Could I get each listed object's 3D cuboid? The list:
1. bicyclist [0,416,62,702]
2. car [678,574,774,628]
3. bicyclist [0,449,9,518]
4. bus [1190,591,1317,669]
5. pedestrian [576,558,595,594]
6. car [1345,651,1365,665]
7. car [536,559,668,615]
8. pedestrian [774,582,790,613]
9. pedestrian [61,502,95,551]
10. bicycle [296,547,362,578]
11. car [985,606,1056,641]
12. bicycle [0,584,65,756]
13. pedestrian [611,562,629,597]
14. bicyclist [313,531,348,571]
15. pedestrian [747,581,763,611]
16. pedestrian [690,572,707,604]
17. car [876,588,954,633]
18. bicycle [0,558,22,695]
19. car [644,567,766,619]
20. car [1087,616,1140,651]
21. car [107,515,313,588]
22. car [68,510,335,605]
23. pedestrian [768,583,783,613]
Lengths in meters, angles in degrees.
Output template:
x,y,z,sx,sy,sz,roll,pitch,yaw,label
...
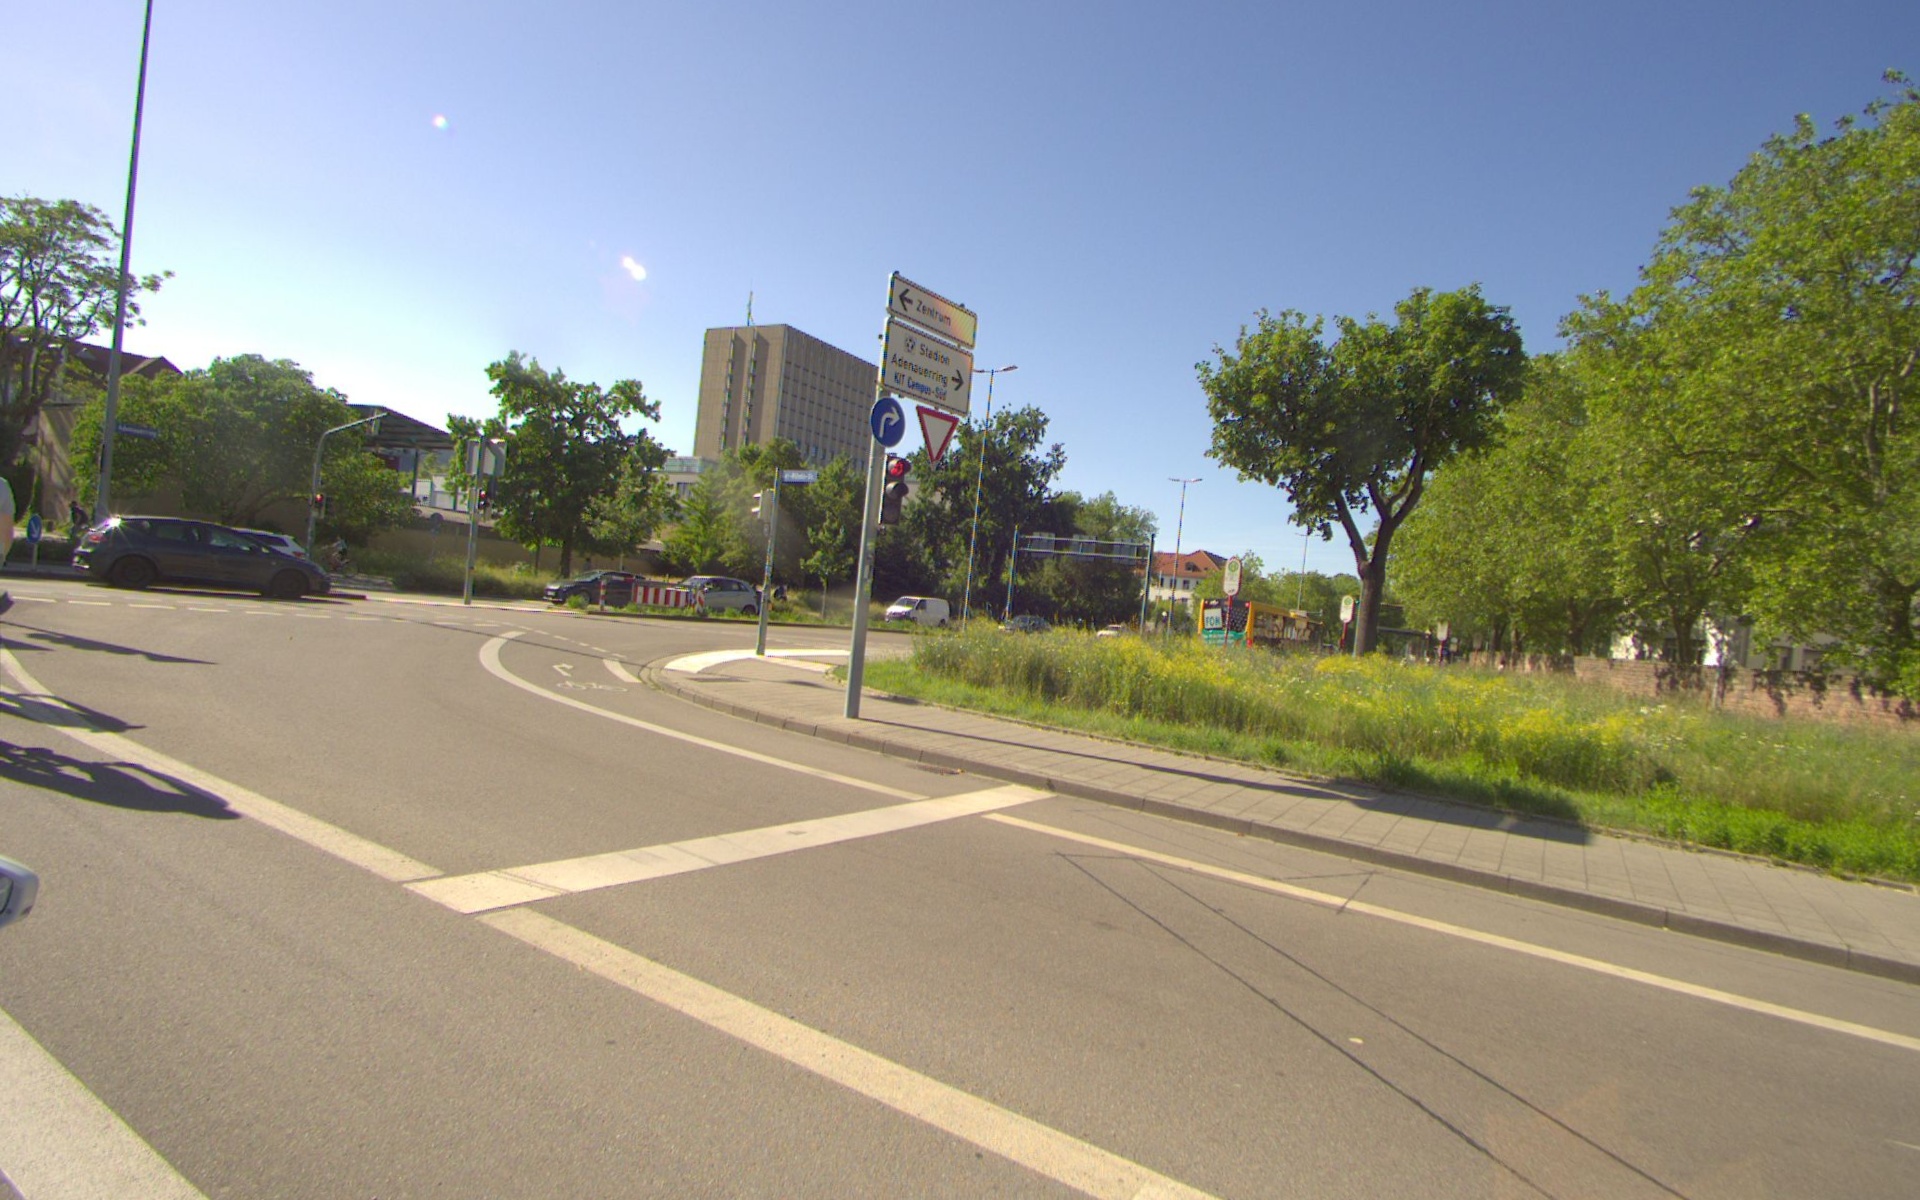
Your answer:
x,y,z,sx,sy,sz,roll,pitch,yaw,label
-6.210,-0.297,6.099,1.000,1.688,0.752,6,-1,33,bicyclist
-11.286,0.089,48.803,1.971,2.037,3.986,6,-2,40,car
-8.138,-0.373,7.787,1.048,1.759,0.647,7,-1,26,bicyclist
14.329,1.585,48.416,2.752,2.662,10.095,6,-2,34,bus
-18.565,-1.190,49.911,0.519,1.716,0.561,7,1,35,pedestrian
48.538,7.150,123.584,1.812,1.405,4.066,4,-2,27,car
-13.766,-0.469,38.850,1.818,1.652,4.366,6,-1,41,car
-10.806,-0.122,60.989,0.519,1.801,0.561,7,1,35,pedestrian
-30.948,-2.573,35.293,0.590,1.623,0.735,7,1,44,pedestrian
-24.768,-1.455,39.522,0.589,0.976,2.075,7,0,37,bicycle
3.521,1.363,57.343,1.967,1.604,4.738,6,0,31,car
-6.292,0.329,6.098,1.946,0.906,0.741,6,-2,33,bicycle
-17.663,-1.074,52.220,0.519,1.716,0.561,7,1,35,pedestrian
-24.723,-1.933,39.518,0.589,1.447,0.936,7,1,38,bicyclist
-12.150,-0.212,59.646,0.519,1.716,0.561,7,1,35,pedestrian
-14.755,-0.674,56.692,0.519,1.716,0.561,7,1,35,pedestrian
-2.679,0.683,61.278,1.968,2.131,4.885,6,-2,35,car
-8.203,0.088,7.781,1.935,1.014,0.661,6,-1,26,bicycle
-9.428,-0.235,37.436,1.840,1.426,4.046,6,0,38,car
11.821,2.595,77.200,1.969,2.186,4.783,6,-2,35,car
-23.479,-1.482,31.667,1.817,1.652,4.819,6,-1,39,car
-15.471,-0.803,20.691,1.819,1.404,4.051,2,-3,41,car
-11.268,-0.118,61.450,0.519,1.716,0.561,7,1,35,pedestrian
